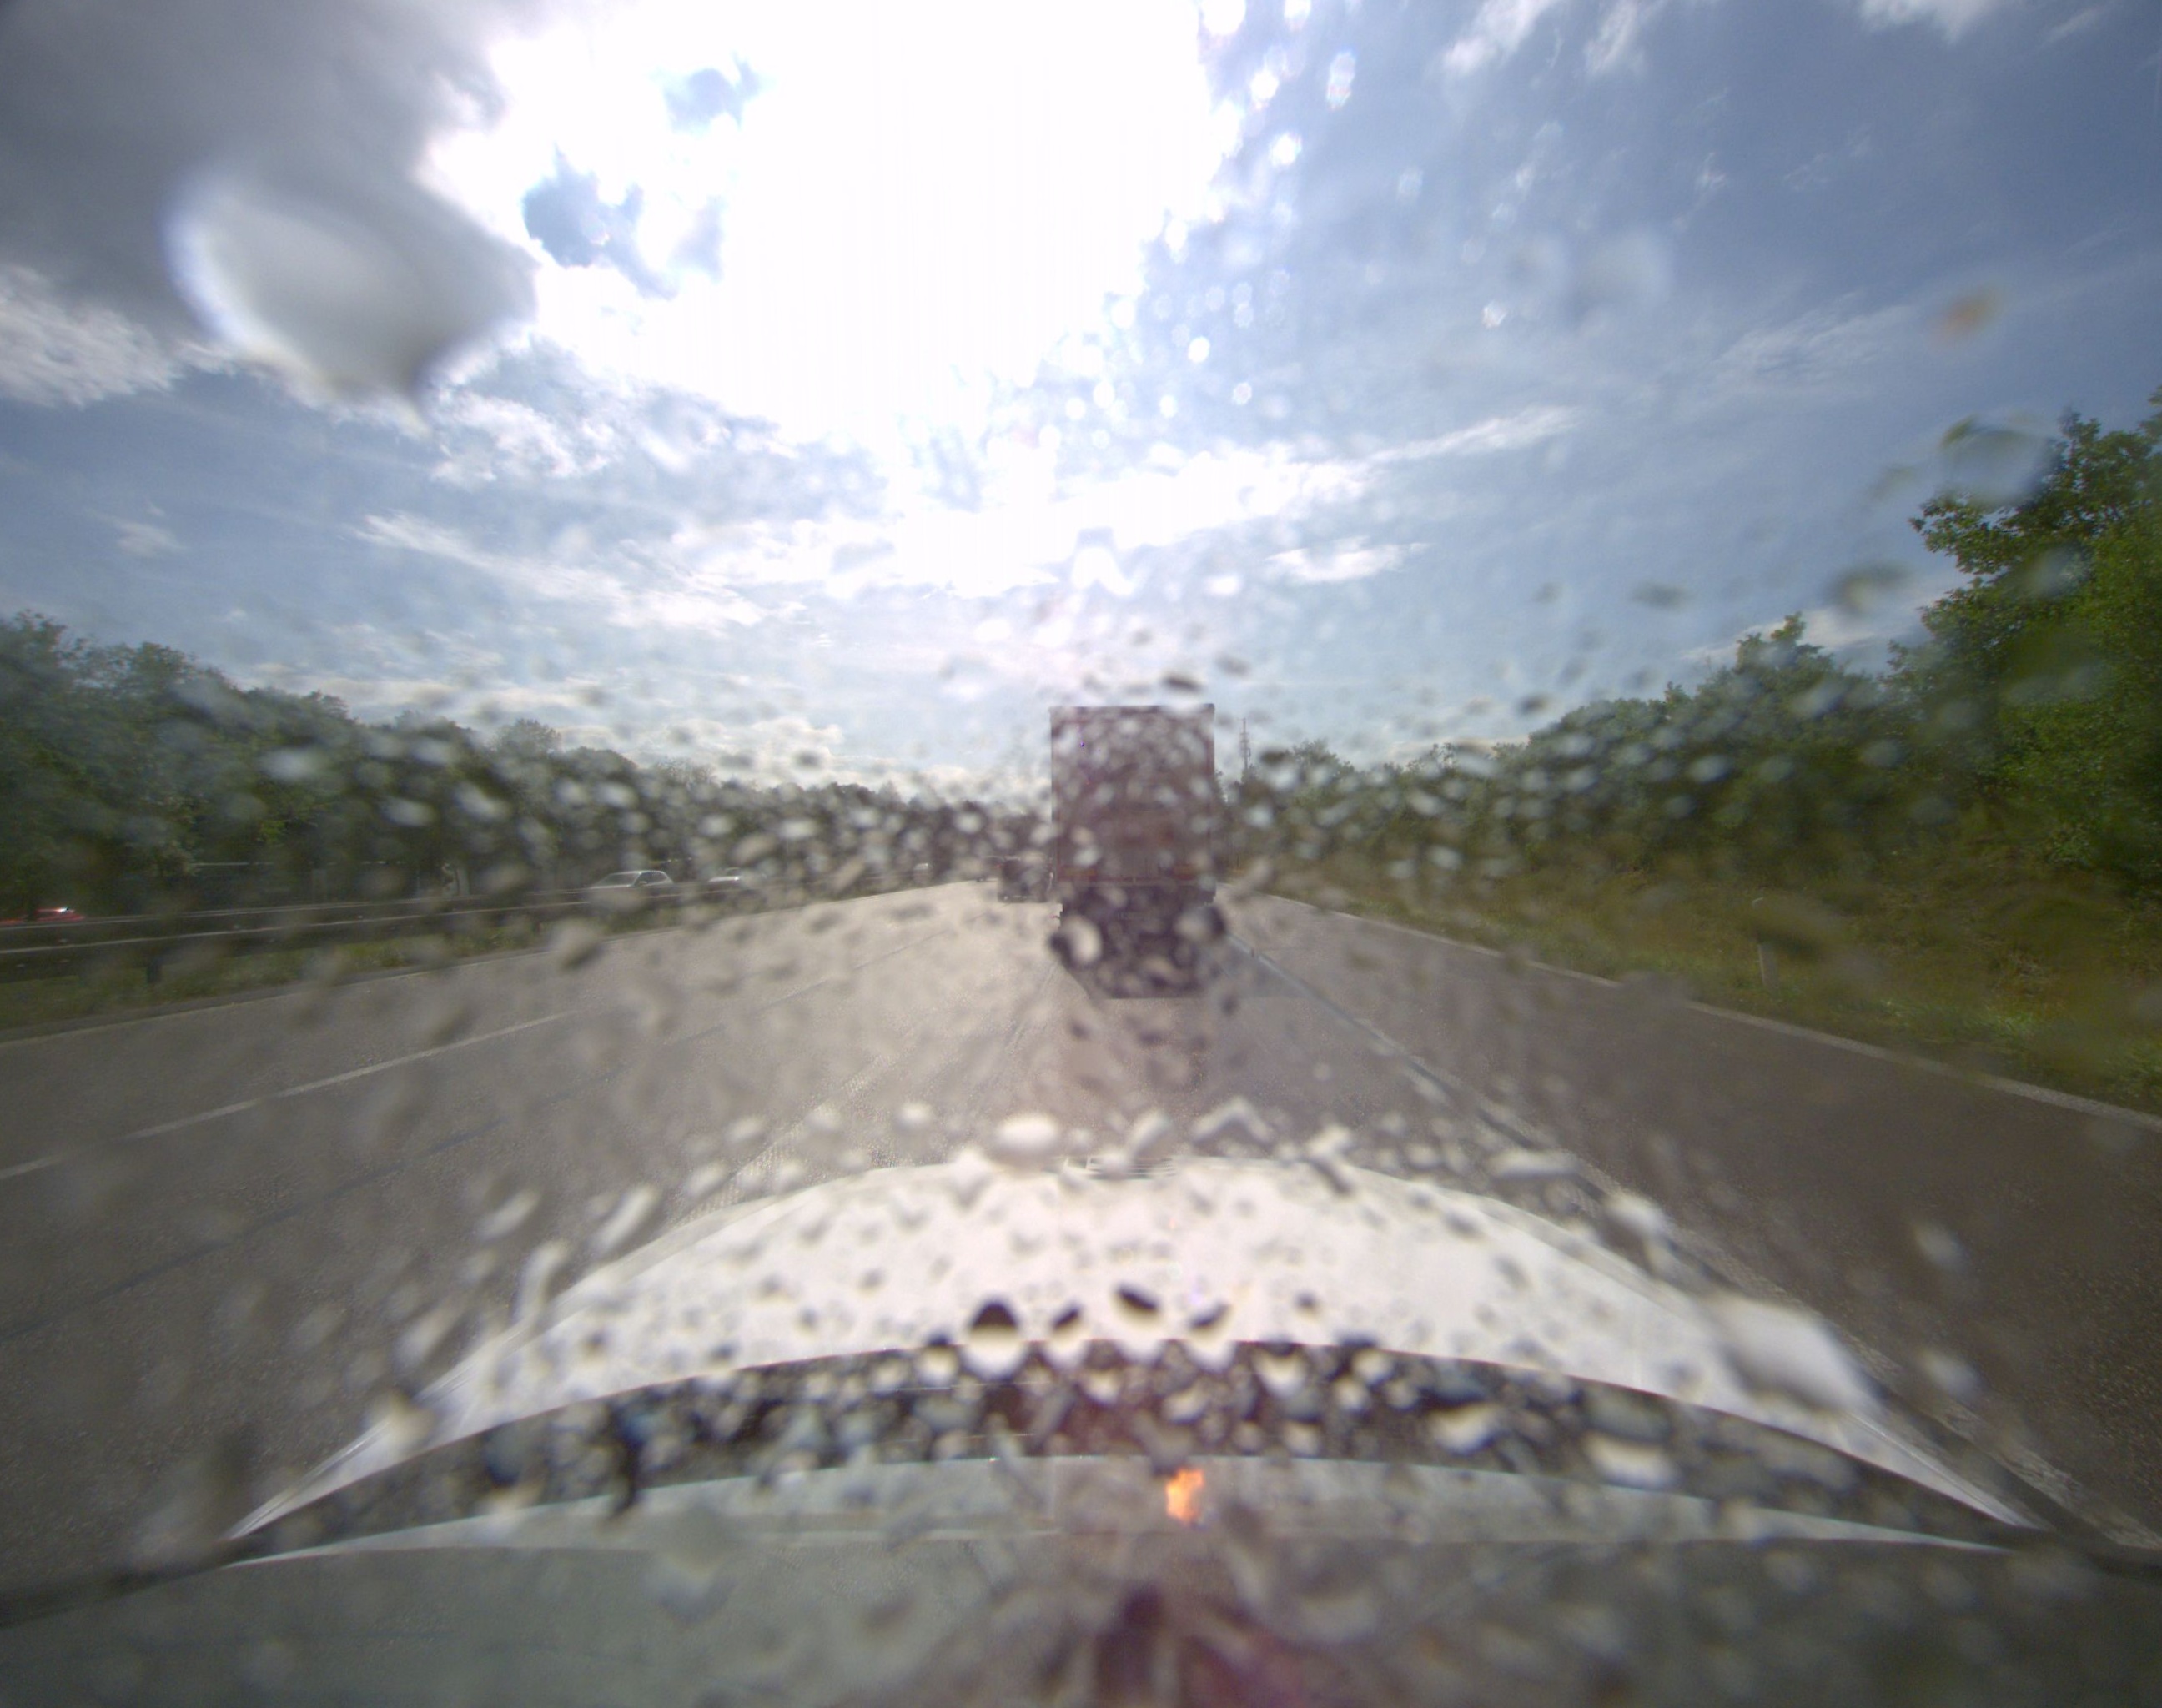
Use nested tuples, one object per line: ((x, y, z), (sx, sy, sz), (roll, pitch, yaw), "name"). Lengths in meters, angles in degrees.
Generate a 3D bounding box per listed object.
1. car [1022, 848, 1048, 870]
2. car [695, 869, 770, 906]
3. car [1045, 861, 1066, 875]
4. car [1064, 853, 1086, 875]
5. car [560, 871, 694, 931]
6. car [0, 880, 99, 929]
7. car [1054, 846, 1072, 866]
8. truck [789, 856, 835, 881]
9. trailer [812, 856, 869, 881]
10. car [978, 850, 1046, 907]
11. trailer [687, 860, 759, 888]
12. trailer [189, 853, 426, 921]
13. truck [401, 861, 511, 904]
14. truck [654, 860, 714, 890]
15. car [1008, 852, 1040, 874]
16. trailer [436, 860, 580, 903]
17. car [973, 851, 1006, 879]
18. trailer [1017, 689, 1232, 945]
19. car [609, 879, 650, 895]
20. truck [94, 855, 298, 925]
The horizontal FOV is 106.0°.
((-4.389, 0.477, 79.078), (1.970, 2.054, 4.760), (0, -1, 3), "car")
((-18.823, 1.753, 44.252), (1.823, 1.891, 4.782), (0, -1, 2), "car")
((-2.954, 1.583, 94.016), (1.985, 1.565, 4.760), (0, -1, 3), "car")
((-0.471, 0.834, 67.665), (1.686, 1.805, 3.976), (0, -1, 1), "car")
((-15.680, 1.550, 28.460), (1.823, 1.891, 4.782), (0, -1, 2), "car")
((-57.183, 2.659, 43.071), (2.781, 2.482, 6.215), (0, -1, 3), "car")
((-2.372, 0.339, 110.844), (1.985, 2.615, 5.264), (0, -1, 3), "car")
((-44.468, 2.384, 134.799), (3.759, 4.117, 7.075), (0, -1, 16), "truck")
((-42.074, 2.473, 142.923), (3.759, 4.117, 11.775), (0, -1, 16), "trailer")
((-2.477, 0.876, 30.579), (2.268, 1.954, 4.818), (0, -1, -2), "car")
((-49.573, 2.682, 113.266), (3.765, 3.649, 10.527), (-2, 0, 10), "trailer")
((-56.681, 2.231, 60.715), (3.772, 4.405, 13.815), (-2, 0, 4), "trailer")
((-55.349, 2.456, 72.425), (3.772, 3.590, 7.361), (0, -1, 3), "truck")
((-50.947, 2.635, 104.844), (3.766, 3.660, 6.720), (0, -1, 8), "truck")
((-4.567, 0.746, 65.502), (1.900, 1.636, 4.621), (-2, -1, 3), "car")
((-54.917, 2.515, 78.917), (3.772, 3.649, 13.358), (-2, 0, 4), "trailer")
((-6.031, 0.723, 54.062), (1.686, 1.805, 3.976), (0, -1, 1), "car")
((0.922, -0.544, 19.515), (3.271, 3.899, 14.135), (0, 0, 2), "trailer")
((-52.551, 3.845, 94.876), (2.048, 1.718, 4.374), (0, -1, 5), "car")
((-57.109, 2.210, 53.026), (3.772, 4.234, 8.424), (0, -1, 3), "truck")
